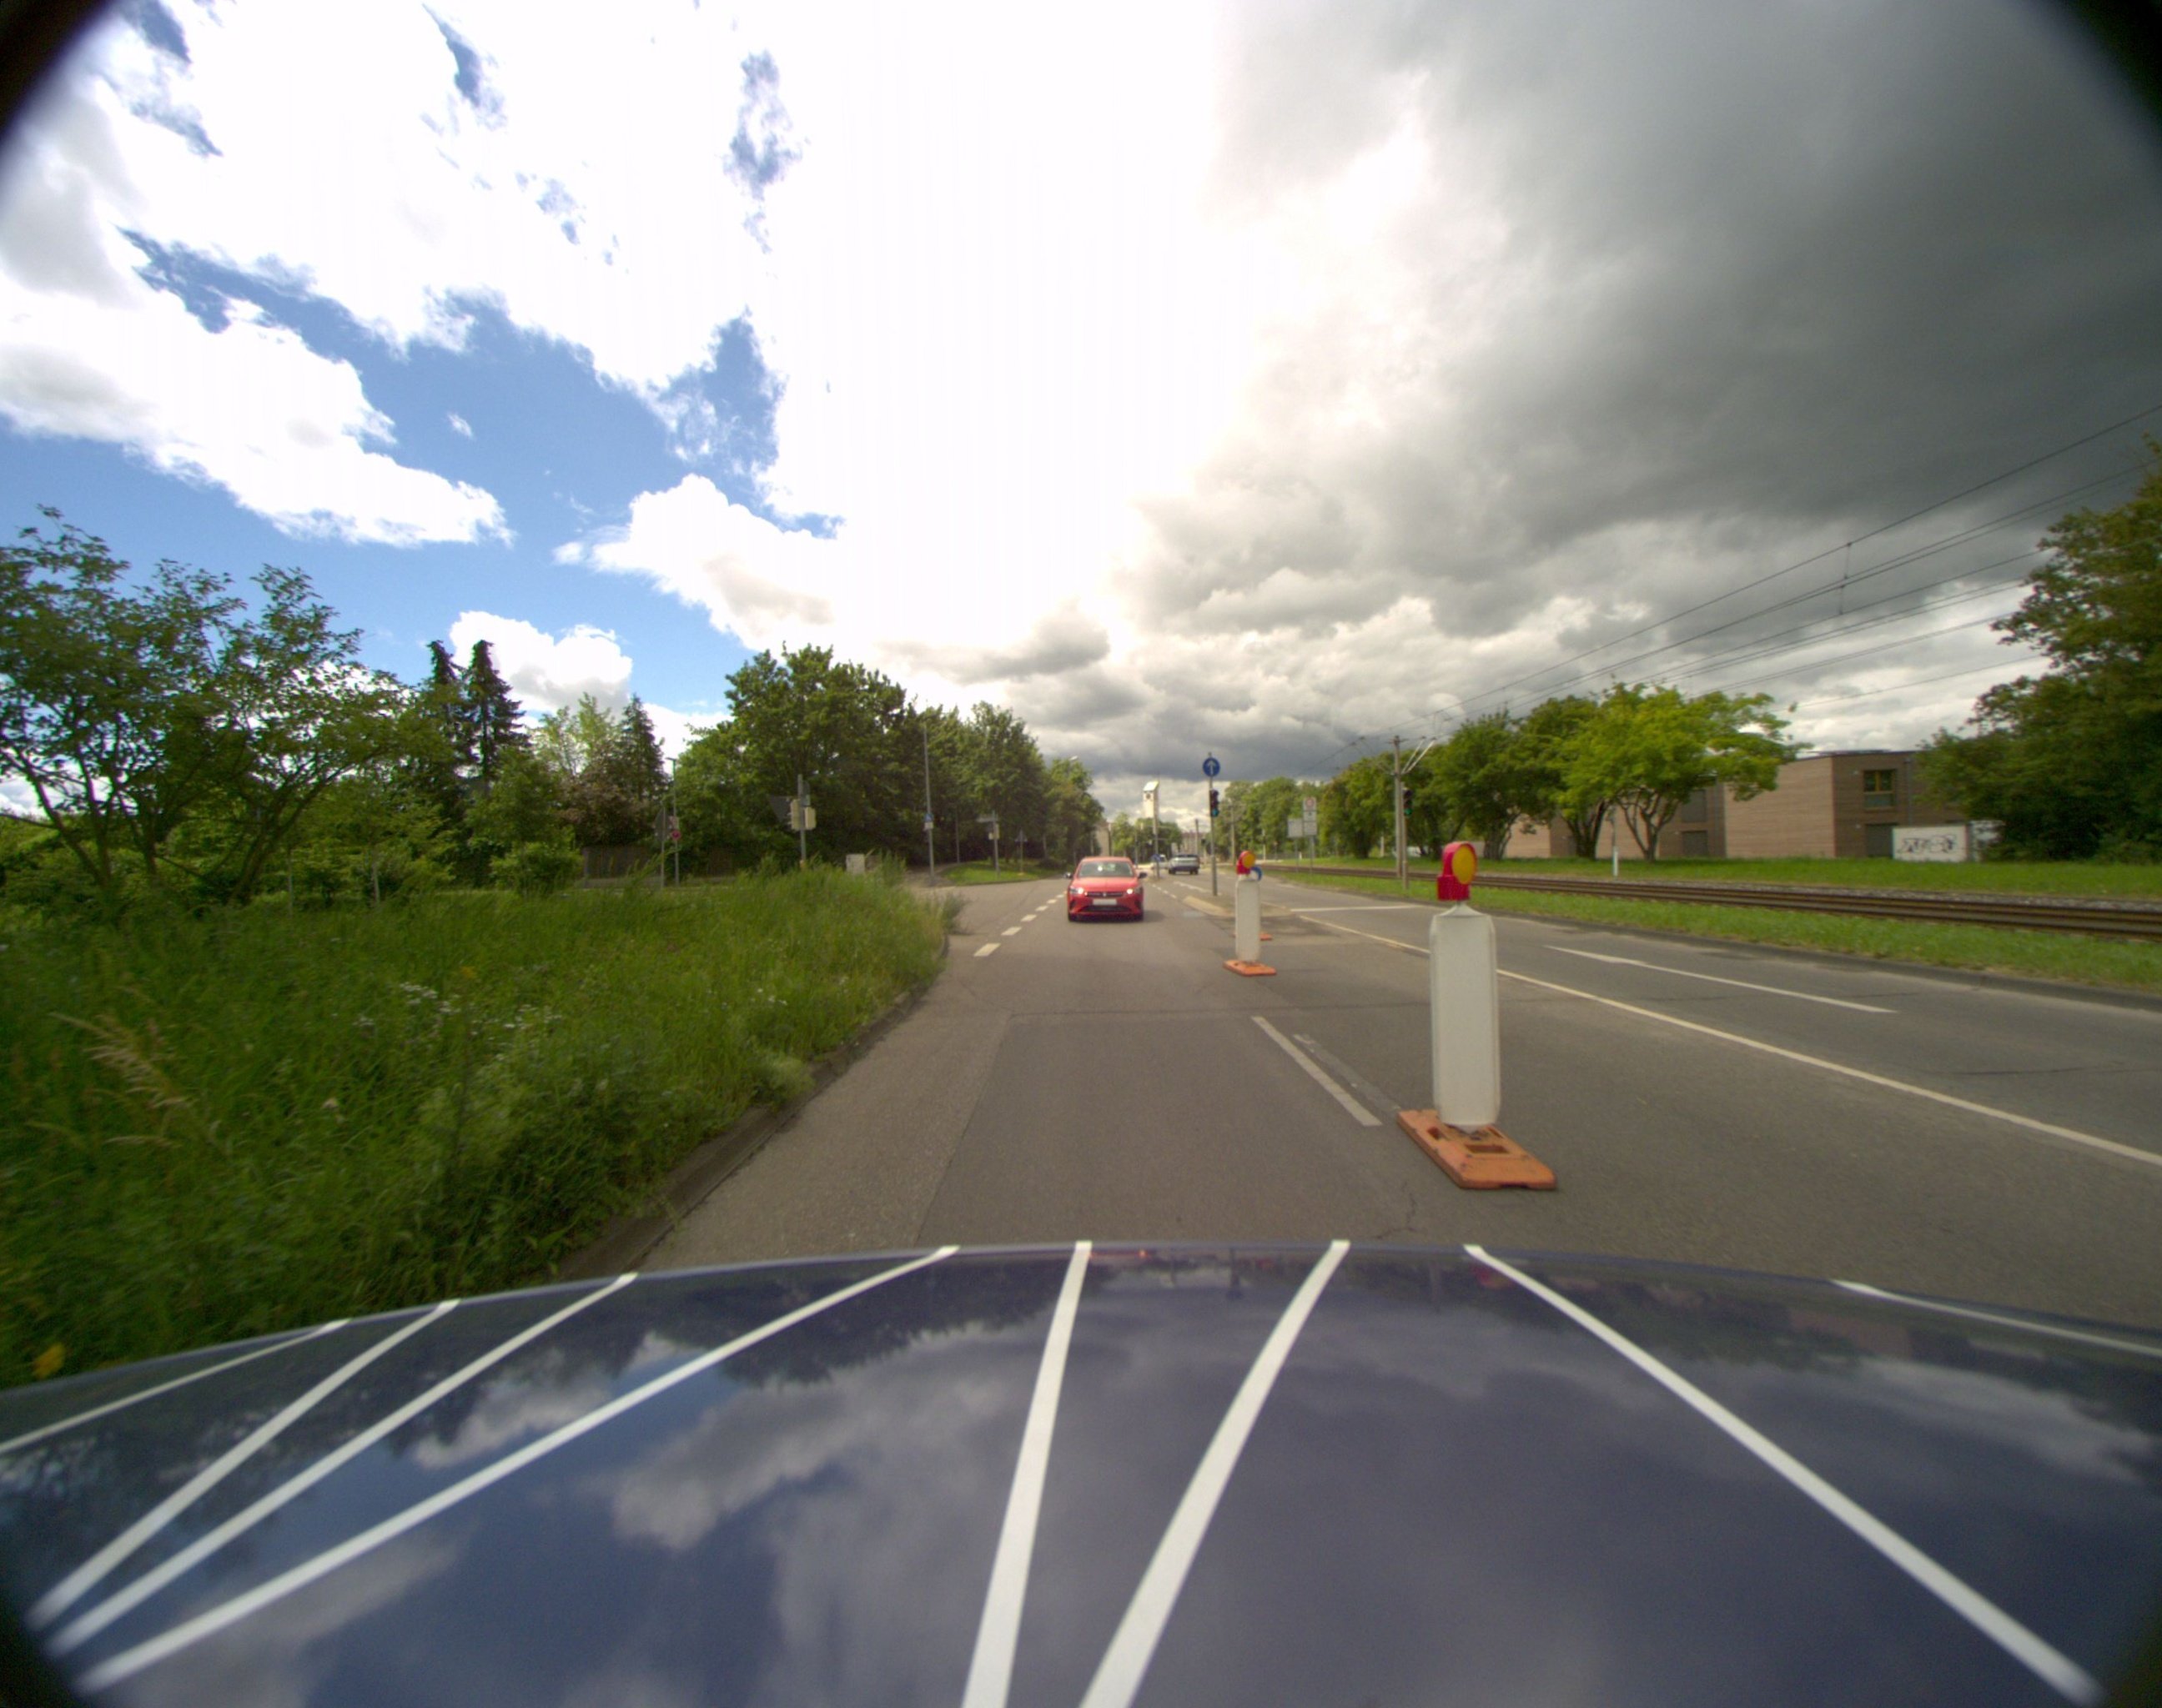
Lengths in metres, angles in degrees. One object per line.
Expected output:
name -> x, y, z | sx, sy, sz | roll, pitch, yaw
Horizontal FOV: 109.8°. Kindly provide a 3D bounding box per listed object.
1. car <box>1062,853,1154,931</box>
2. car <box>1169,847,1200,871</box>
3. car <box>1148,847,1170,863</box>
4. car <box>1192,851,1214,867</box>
car -> 0.631, 0.764, 17.657 | 1.790, 1.453, 4.853 | -2, 1, 2
car -> 7.665, 0.336, 56.638 | 1.864, 1.601, 4.608 | -2, 1, 3
car -> 8.224, 0.092, 80.386 | 1.733, 1.603, 4.262 | -3, 1, 0
car -> 13.692, 0.561, 85.607 | 1.998, 1.650, 4.523 | -2, 1, 4
